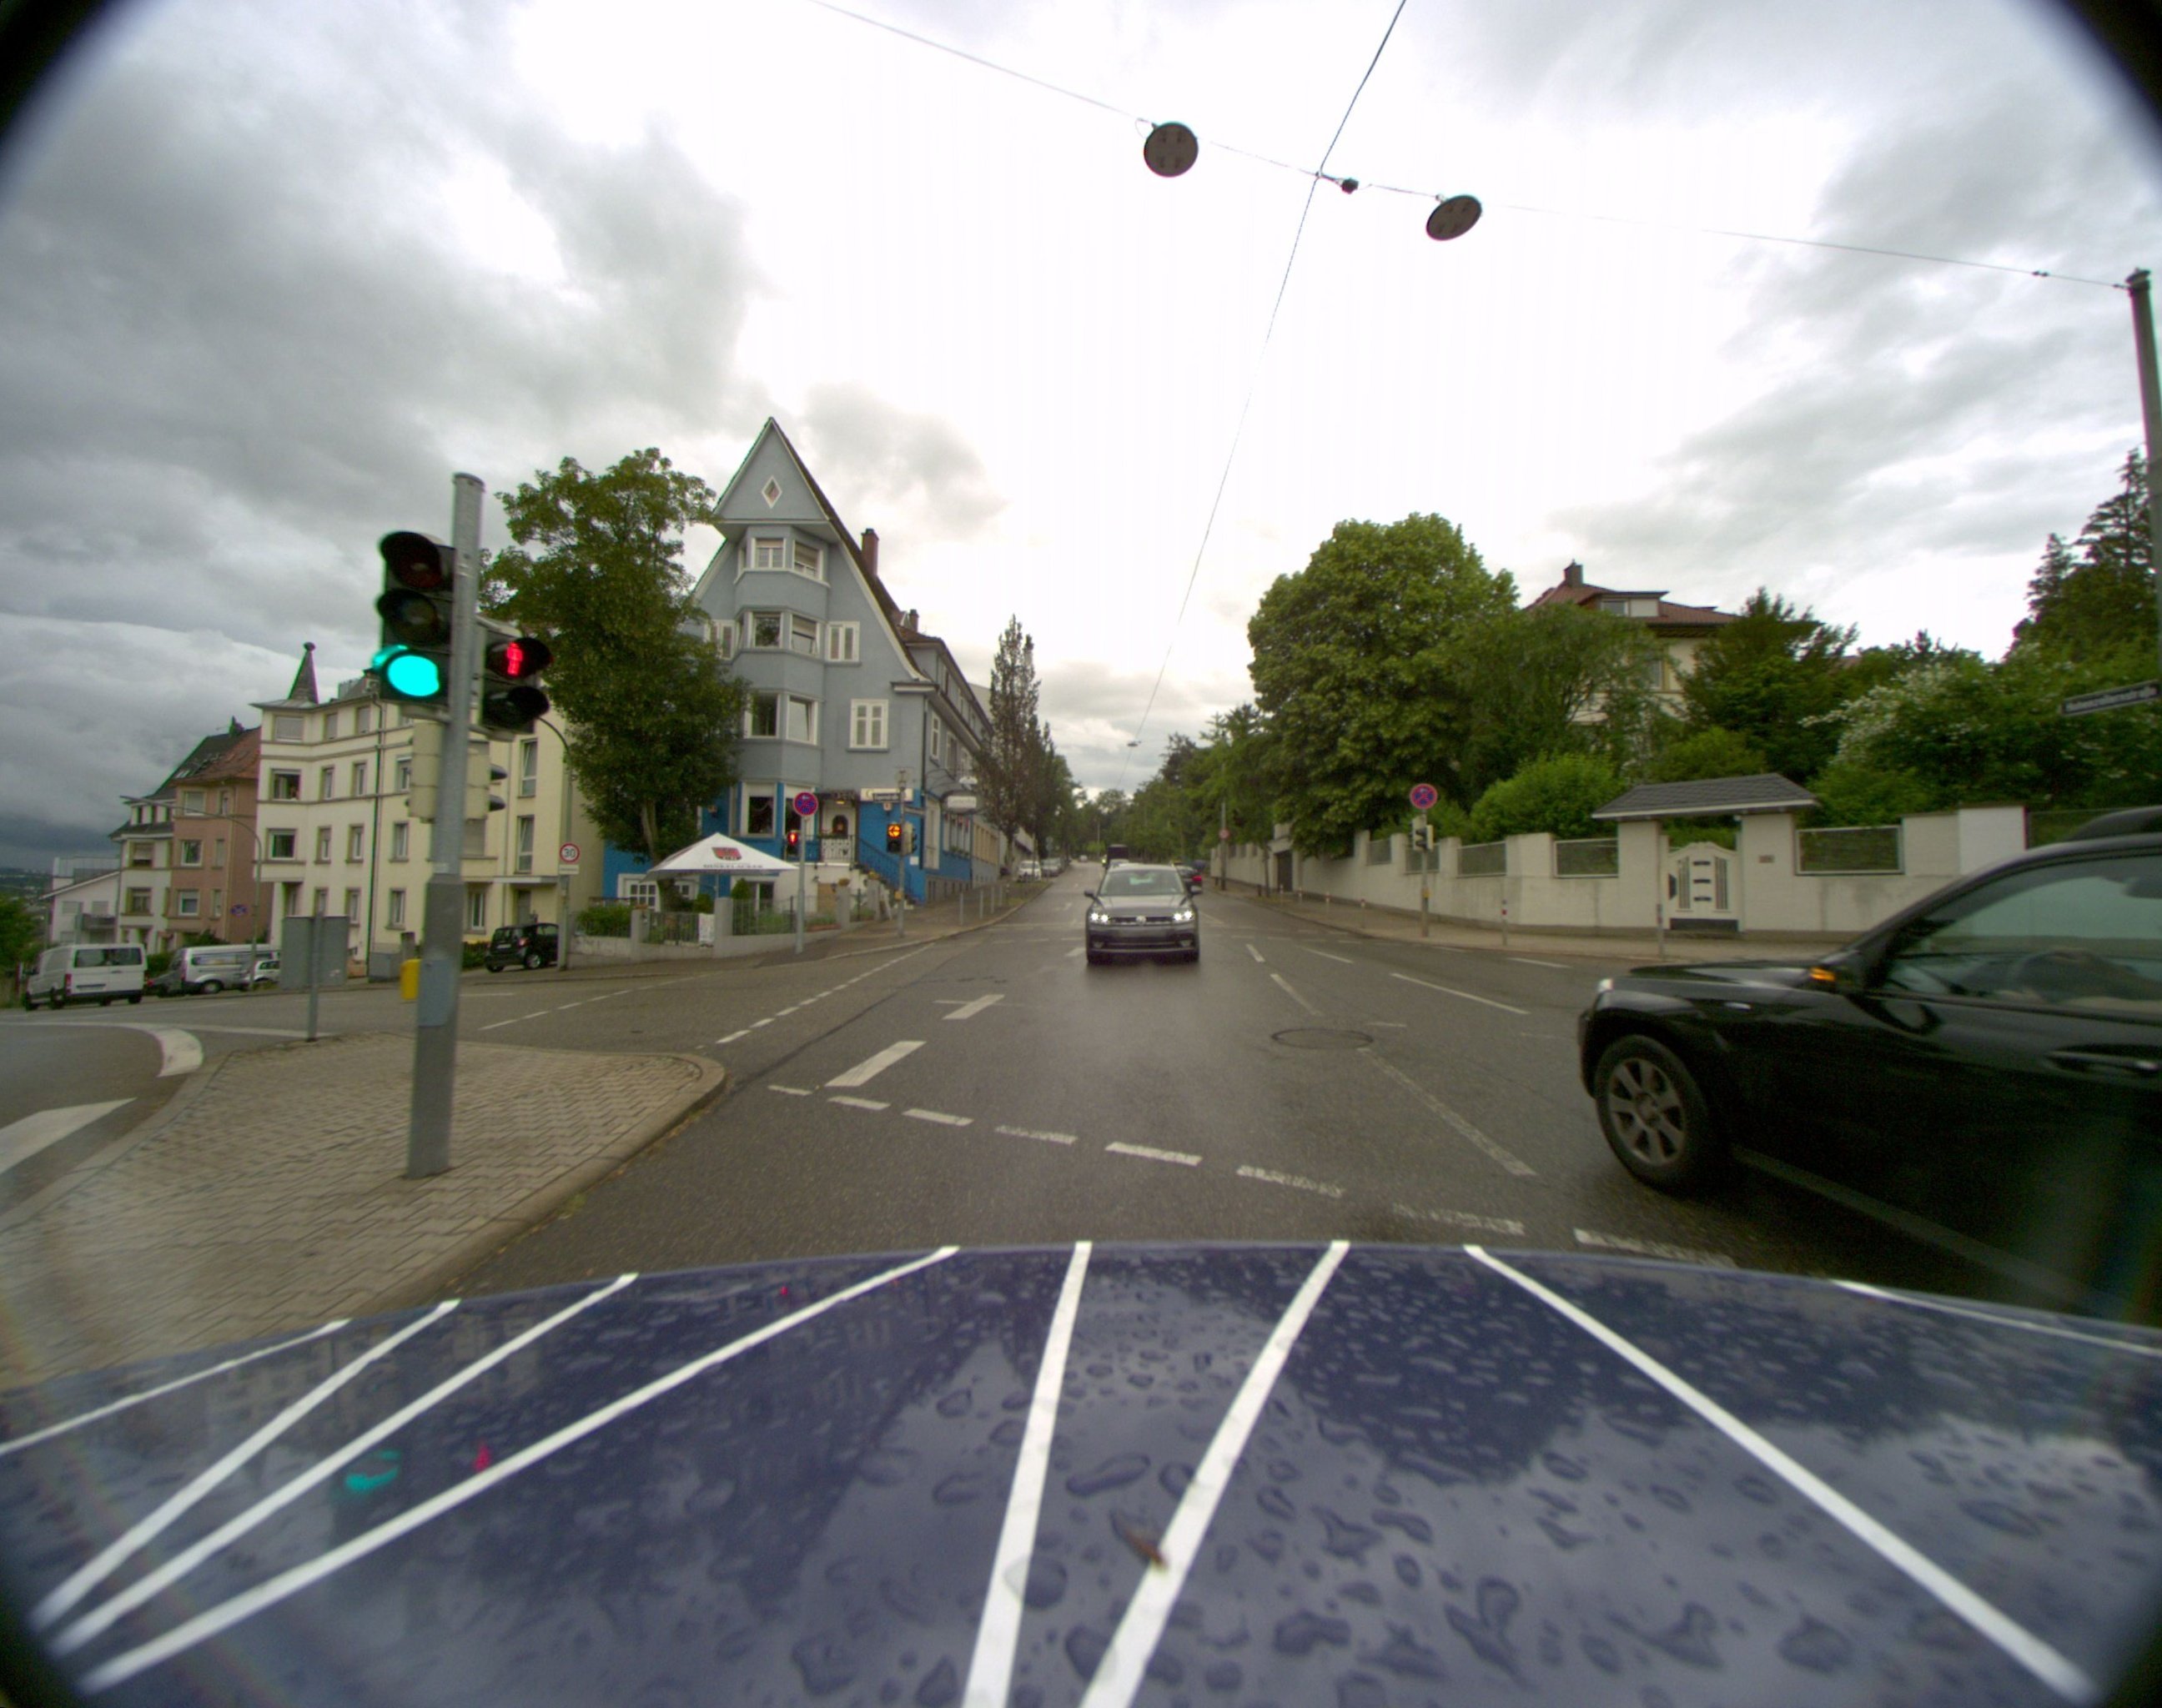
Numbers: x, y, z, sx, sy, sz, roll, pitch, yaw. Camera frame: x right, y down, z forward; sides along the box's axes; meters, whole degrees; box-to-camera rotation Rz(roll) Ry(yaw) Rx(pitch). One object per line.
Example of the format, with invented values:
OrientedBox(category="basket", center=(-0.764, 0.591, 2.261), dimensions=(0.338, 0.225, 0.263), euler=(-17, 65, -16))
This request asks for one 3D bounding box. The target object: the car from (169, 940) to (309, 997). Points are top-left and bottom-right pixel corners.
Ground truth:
OrientedBox(category="car", center=(-40.508, 5.462, 36.648), dimensions=(1.938, 2.218, 4.185), euler=(-10, -7, 28))

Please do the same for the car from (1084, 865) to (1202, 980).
OrientedBox(category="car", center=(1.059, 1.075, 13.760), dimensions=(1.785, 1.632, 4.200), euler=(1, 1, 3))

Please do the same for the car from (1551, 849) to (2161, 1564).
OrientedBox(category="car", center=(3.403, 0.809, 1.794), dimensions=(1.826, 1.642, 4.345), euler=(-1, 0, -1))

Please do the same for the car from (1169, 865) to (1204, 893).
OrientedBox(category="car", center=(6.023, 1.400, 43.927), dimensions=(1.856, 1.477, 5.370), euler=(1, -1, 6))

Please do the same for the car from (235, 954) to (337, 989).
OrientedBox(category="car", center=(-37.582, 5.545, 35.997), dimensions=(1.303, 1.395, 3.061), euler=(-5, -6, 23))

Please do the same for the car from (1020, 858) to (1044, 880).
OrientedBox(category="car", center=(-3.392, 1.019, 53.196), dimensions=(1.591, 1.403, 3.455), euler=(1, 0, -3))

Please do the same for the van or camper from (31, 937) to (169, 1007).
OrientedBox(category="van or camper", center=(-37.078, 4.474, 28.697), dimensions=(5.405, 2.310, 2.115), euler=(-6, -5, 26))

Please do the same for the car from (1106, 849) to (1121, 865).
OrientedBox(category="car", center=(4.445, 0.403, 105.011), dimensions=(1.998, 2.002, 3.999), euler=(1, 2, 1))

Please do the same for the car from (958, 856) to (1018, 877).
OrientedBox(category="car", center=(-7.128, 0.937, 58.219), dimensions=(4.370, 1.399, 1.806), euler=(-2, 1, -14))

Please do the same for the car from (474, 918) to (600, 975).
OrientedBox(category="car", center=(-18.584, 3.131, 26.117), dimensions=(1.637, 1.489, 3.145), euler=(-5, -1, 11))

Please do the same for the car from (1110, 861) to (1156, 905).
OrientedBox(category="car", center=(2.164, 1.181, 32.556), dimensions=(1.785, 1.632, 4.200), euler=(1, 1, 1))

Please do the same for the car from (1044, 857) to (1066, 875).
OrientedBox(category="car", center=(-2.240, 1.037, 67.243), dimensions=(1.819, 1.451, 4.740), euler=(1, 1, -1))

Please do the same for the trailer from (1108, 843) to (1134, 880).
OrientedBox(category="trailer", center=(2.969, 0.547, 57.030), dimensions=(1.770, 2.610, 3.032), euler=(-1, 2, 1))

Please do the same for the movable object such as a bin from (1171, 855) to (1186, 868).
OrientedBox(category="movable object such as a bin", center=(10.111, 0.760, 78.800), dimensions=(1.227, 1.343, 1.122), euler=(1, 1, -7))

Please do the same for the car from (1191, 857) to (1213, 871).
OrientedBox(category="car", center=(13.902, 1.172, 87.241), dimensions=(1.856, 1.483, 3.865), euler=(-3, 0, 0))

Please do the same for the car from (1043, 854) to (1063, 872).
OrientedBox(category="car", center=(-2.730, 0.871, 75.571), dimensions=(1.749, 1.665, 4.344), euler=(1, 1, 1))

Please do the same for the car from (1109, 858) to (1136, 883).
OrientedBox(category="car", center=(2.899, 1.139, 53.807), dimensions=(1.736, 1.610, 3.475), euler=(-1, 2, 1))
